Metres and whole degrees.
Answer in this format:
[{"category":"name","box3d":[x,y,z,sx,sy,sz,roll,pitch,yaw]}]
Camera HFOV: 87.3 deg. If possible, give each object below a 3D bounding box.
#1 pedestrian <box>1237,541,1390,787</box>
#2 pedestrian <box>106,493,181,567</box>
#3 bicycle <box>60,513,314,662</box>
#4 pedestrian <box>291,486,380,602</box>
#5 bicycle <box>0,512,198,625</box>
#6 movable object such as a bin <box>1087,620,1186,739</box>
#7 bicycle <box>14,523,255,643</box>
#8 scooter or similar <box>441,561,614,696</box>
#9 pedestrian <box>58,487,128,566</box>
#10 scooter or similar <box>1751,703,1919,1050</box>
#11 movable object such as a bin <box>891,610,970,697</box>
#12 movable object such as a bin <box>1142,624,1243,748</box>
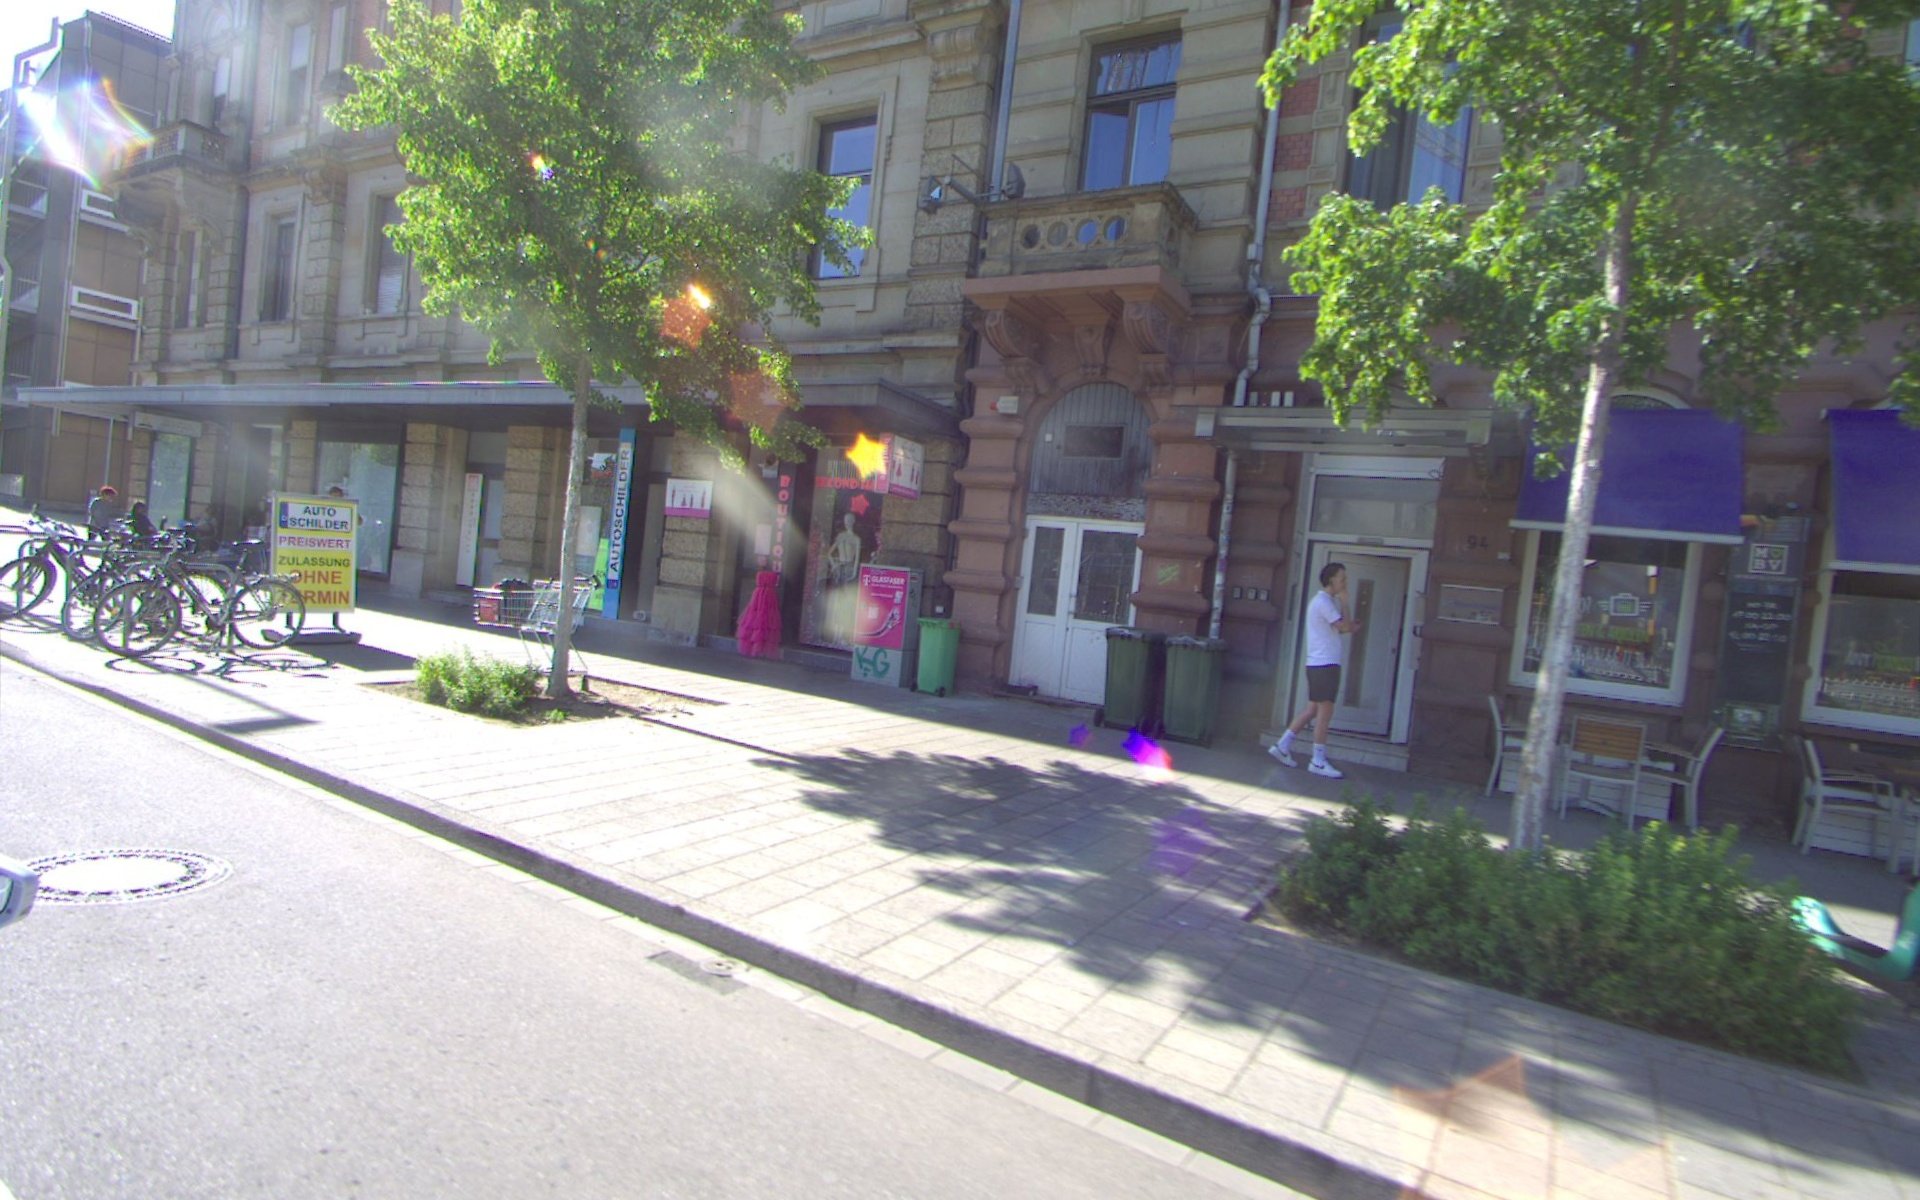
[{"category":"pedestrian","box3d":[3.192,0.552,9.067,1.029,2.038,0.819,4,-1,30]},{"category":"pedestrian","box3d":[-15.532,-1.332,19.135,0.990,1.306,0.832,7,5,32]},{"category":"bicycle","box3d":[-7.277,-0.110,9.589,0.491,1.250,1.881,6,3,25]},{"category":"pedestrian","box3d":[-10.167,-0.909,16.382,0.872,1.765,0.844,6,2,31]},{"category":"bicycle","box3d":[-9.777,-0.351,11.239,0.653,1.137,1.917,6,4,24]},{"category":"movable object such as a bin","box3d":[1.860,0.821,10.548,0.734,1.112,0.726,7,1,26]},{"category":"bicycle","box3d":[-8.512,-0.174,10.470,0.653,1.093,1.826,6,3,24]},{"category":"scooter or similar","box3d":[-4.081,0.268,9.550,0.770,1.121,1.220,8,3,33]},{"category":"pedestrian","box3d":[-15.813,-1.335,18.357,0.994,1.355,0.702,6,5,32]},{"category":"scooter or similar","box3d":[4.326,1.193,4.551,0.591,1.233,1.476,8,3,20]},{"category":"movable object such as a bin","box3d":[-0.348,0.631,11.946,0.639,0.928,0.605,7,1,26]},{"category":"movable object such as a bin","box3d":[2.360,0.852,10.162,0.734,1.112,0.726,7,1,26]}]
